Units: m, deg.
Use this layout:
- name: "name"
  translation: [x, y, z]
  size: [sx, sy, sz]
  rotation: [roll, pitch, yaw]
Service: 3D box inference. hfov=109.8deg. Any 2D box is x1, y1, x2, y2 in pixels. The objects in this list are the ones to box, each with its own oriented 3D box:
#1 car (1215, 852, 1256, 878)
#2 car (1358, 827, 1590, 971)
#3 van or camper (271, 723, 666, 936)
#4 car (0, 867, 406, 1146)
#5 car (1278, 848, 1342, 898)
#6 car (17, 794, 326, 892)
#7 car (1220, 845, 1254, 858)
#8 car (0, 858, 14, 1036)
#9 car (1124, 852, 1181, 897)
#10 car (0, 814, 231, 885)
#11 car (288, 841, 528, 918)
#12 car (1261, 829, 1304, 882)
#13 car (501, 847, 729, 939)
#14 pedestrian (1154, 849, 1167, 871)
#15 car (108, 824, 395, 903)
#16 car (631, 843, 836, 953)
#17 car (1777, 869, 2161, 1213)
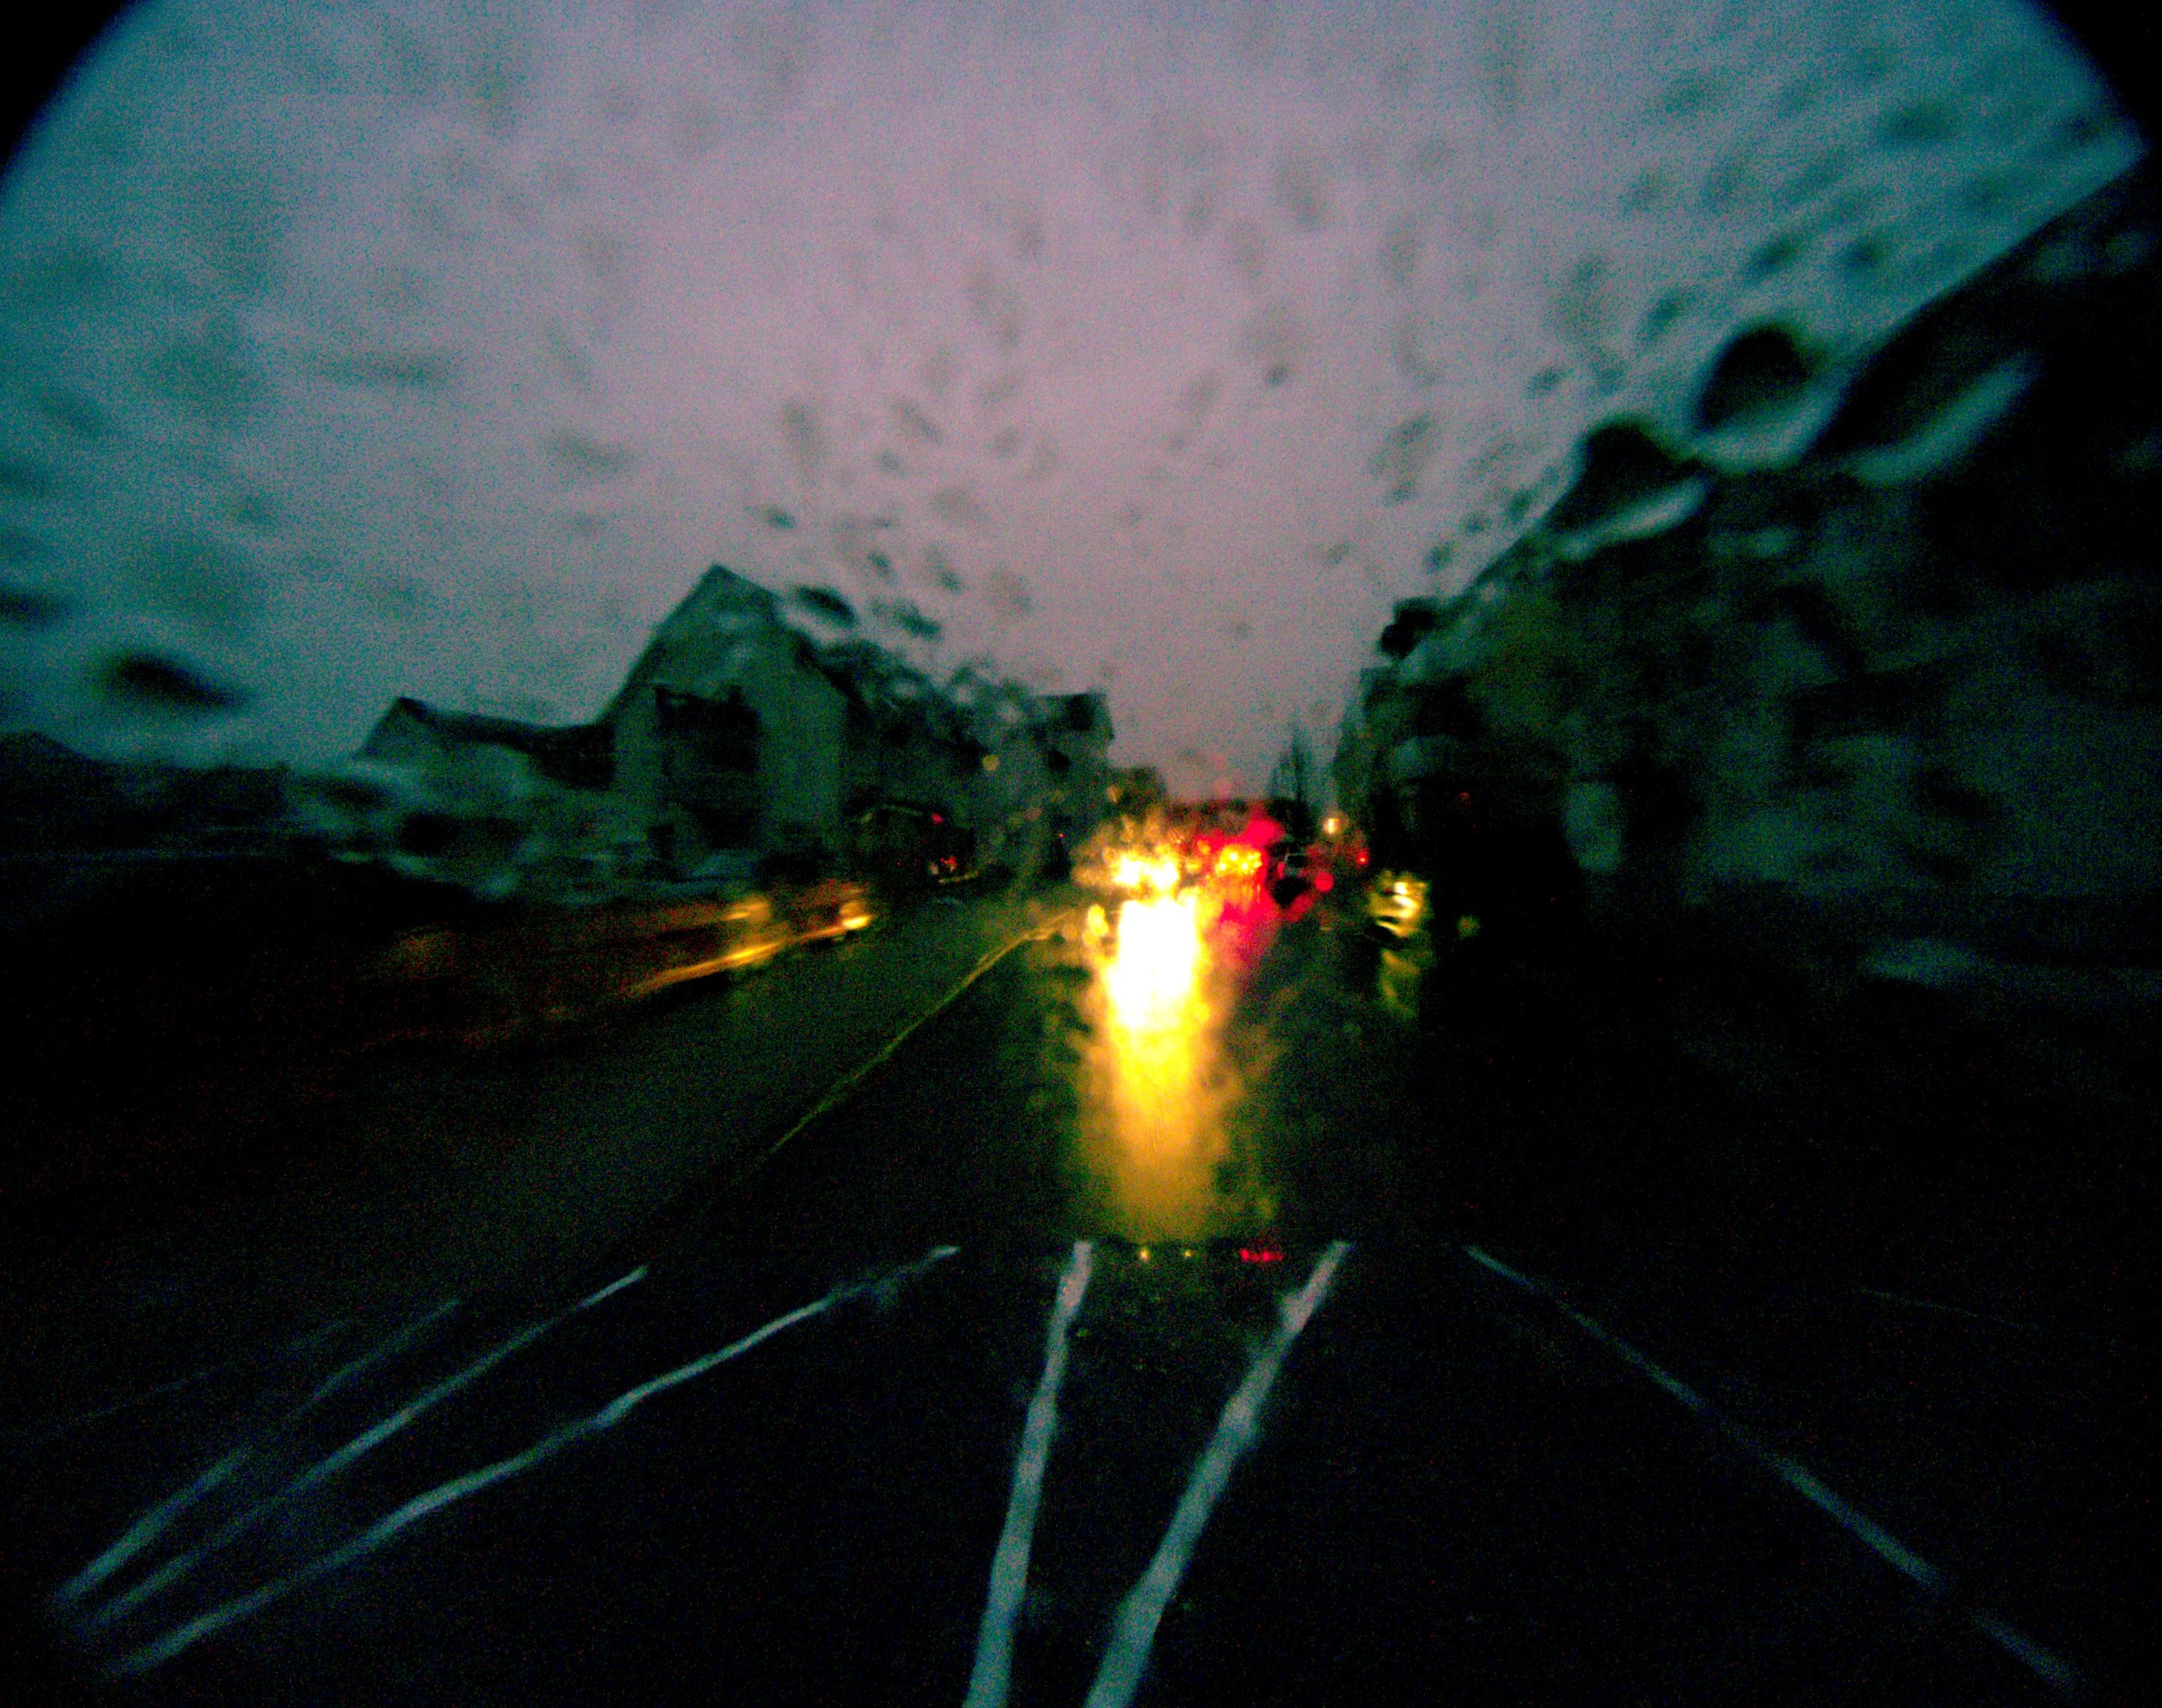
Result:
- name: "car"
  translation: [9.477, 0.625, 46.511]
  size: [1.996, 1.491, 4.005]
  rotation: [0, 1, 18]
- name: "car"
  translation: [6.159, 0.634, 12.649]
  size: [1.883, 1.889, 4.837]
  rotation: [-2, -1, 8]
- name: "van or camper"
  translation: [-12.287, -0.416, 16.377]
  size: [2.437, 3.489, 7.124]
  rotation: [3, 0, 2]
- name: "car"
  translation: [-6.553, 0.805, 4.603]
  size: [1.786, 1.398, 3.753]
  rotation: [2, -2, -6]
- name: "car"
  translation: [8.485, 0.650, 28.469]
  size: [1.938, 1.660, 4.345]
  rotation: [-3, 0, 13]
- name: "car"
  translation: [-20.975, -0.219, 17.840]
  size: [1.783, 1.961, 4.249]
  rotation: [3, 0, 14]
- name: "car"
  translation: [20.526, -0.315, 100.168]
  size: [3.988, 1.637, 1.865]
  rotation: [2, 0, 30]
- name: "car"
  translation: [-9.266, 0.673, 4.200]
  size: [1.667, 1.425, 3.680]
  rotation: [2, -2, -6]
- name: "car"
  translation: [2.885, 0.752, 29.992]
  size: [1.877, 1.622, 4.003]
  rotation: [-1, 0, 10]
- name: "car"
  translation: [-23.803, -0.108, 18.320]
  size: [1.796, 1.501, 4.005]
  rotation: [3, 0, 14]
- name: "car"
  translation: [-15.333, 0.533, 17.658]
  size: [1.798, 1.501, 4.001]
  rotation: [3, 0, 4]
- name: "car"
  translation: [10.968, 0.075, 41.376]
  size: [2.044, 2.644, 4.214]
  rotation: [-3, 0, 15]
- name: "car"
  translation: [-9.275, 0.694, 15.613]
  size: [1.784, 1.533, 4.245]
  rotation: [3, 0, 4]
- name: "pedestrian"
  translation: [6.140, 0.487, 58.608]
  size: [0.651, 1.651, 0.648]
  rotation: [2, 1, -42]
- name: "car"
  translation: [-18.588, 0.204, 17.324]
  size: [1.796, 1.501, 4.005]
  rotation: [3, 0, 14]
- name: "car"
  translation: [-6.470, 0.731, 14.757]
  size: [1.785, 1.811, 4.245]
  rotation: [0, 0, 4]
- name: "car"
  translation: [5.818, 0.886, 3.291]
  size: [1.798, 1.448, 4.396]
  rotation: [-2, 0, 5]
